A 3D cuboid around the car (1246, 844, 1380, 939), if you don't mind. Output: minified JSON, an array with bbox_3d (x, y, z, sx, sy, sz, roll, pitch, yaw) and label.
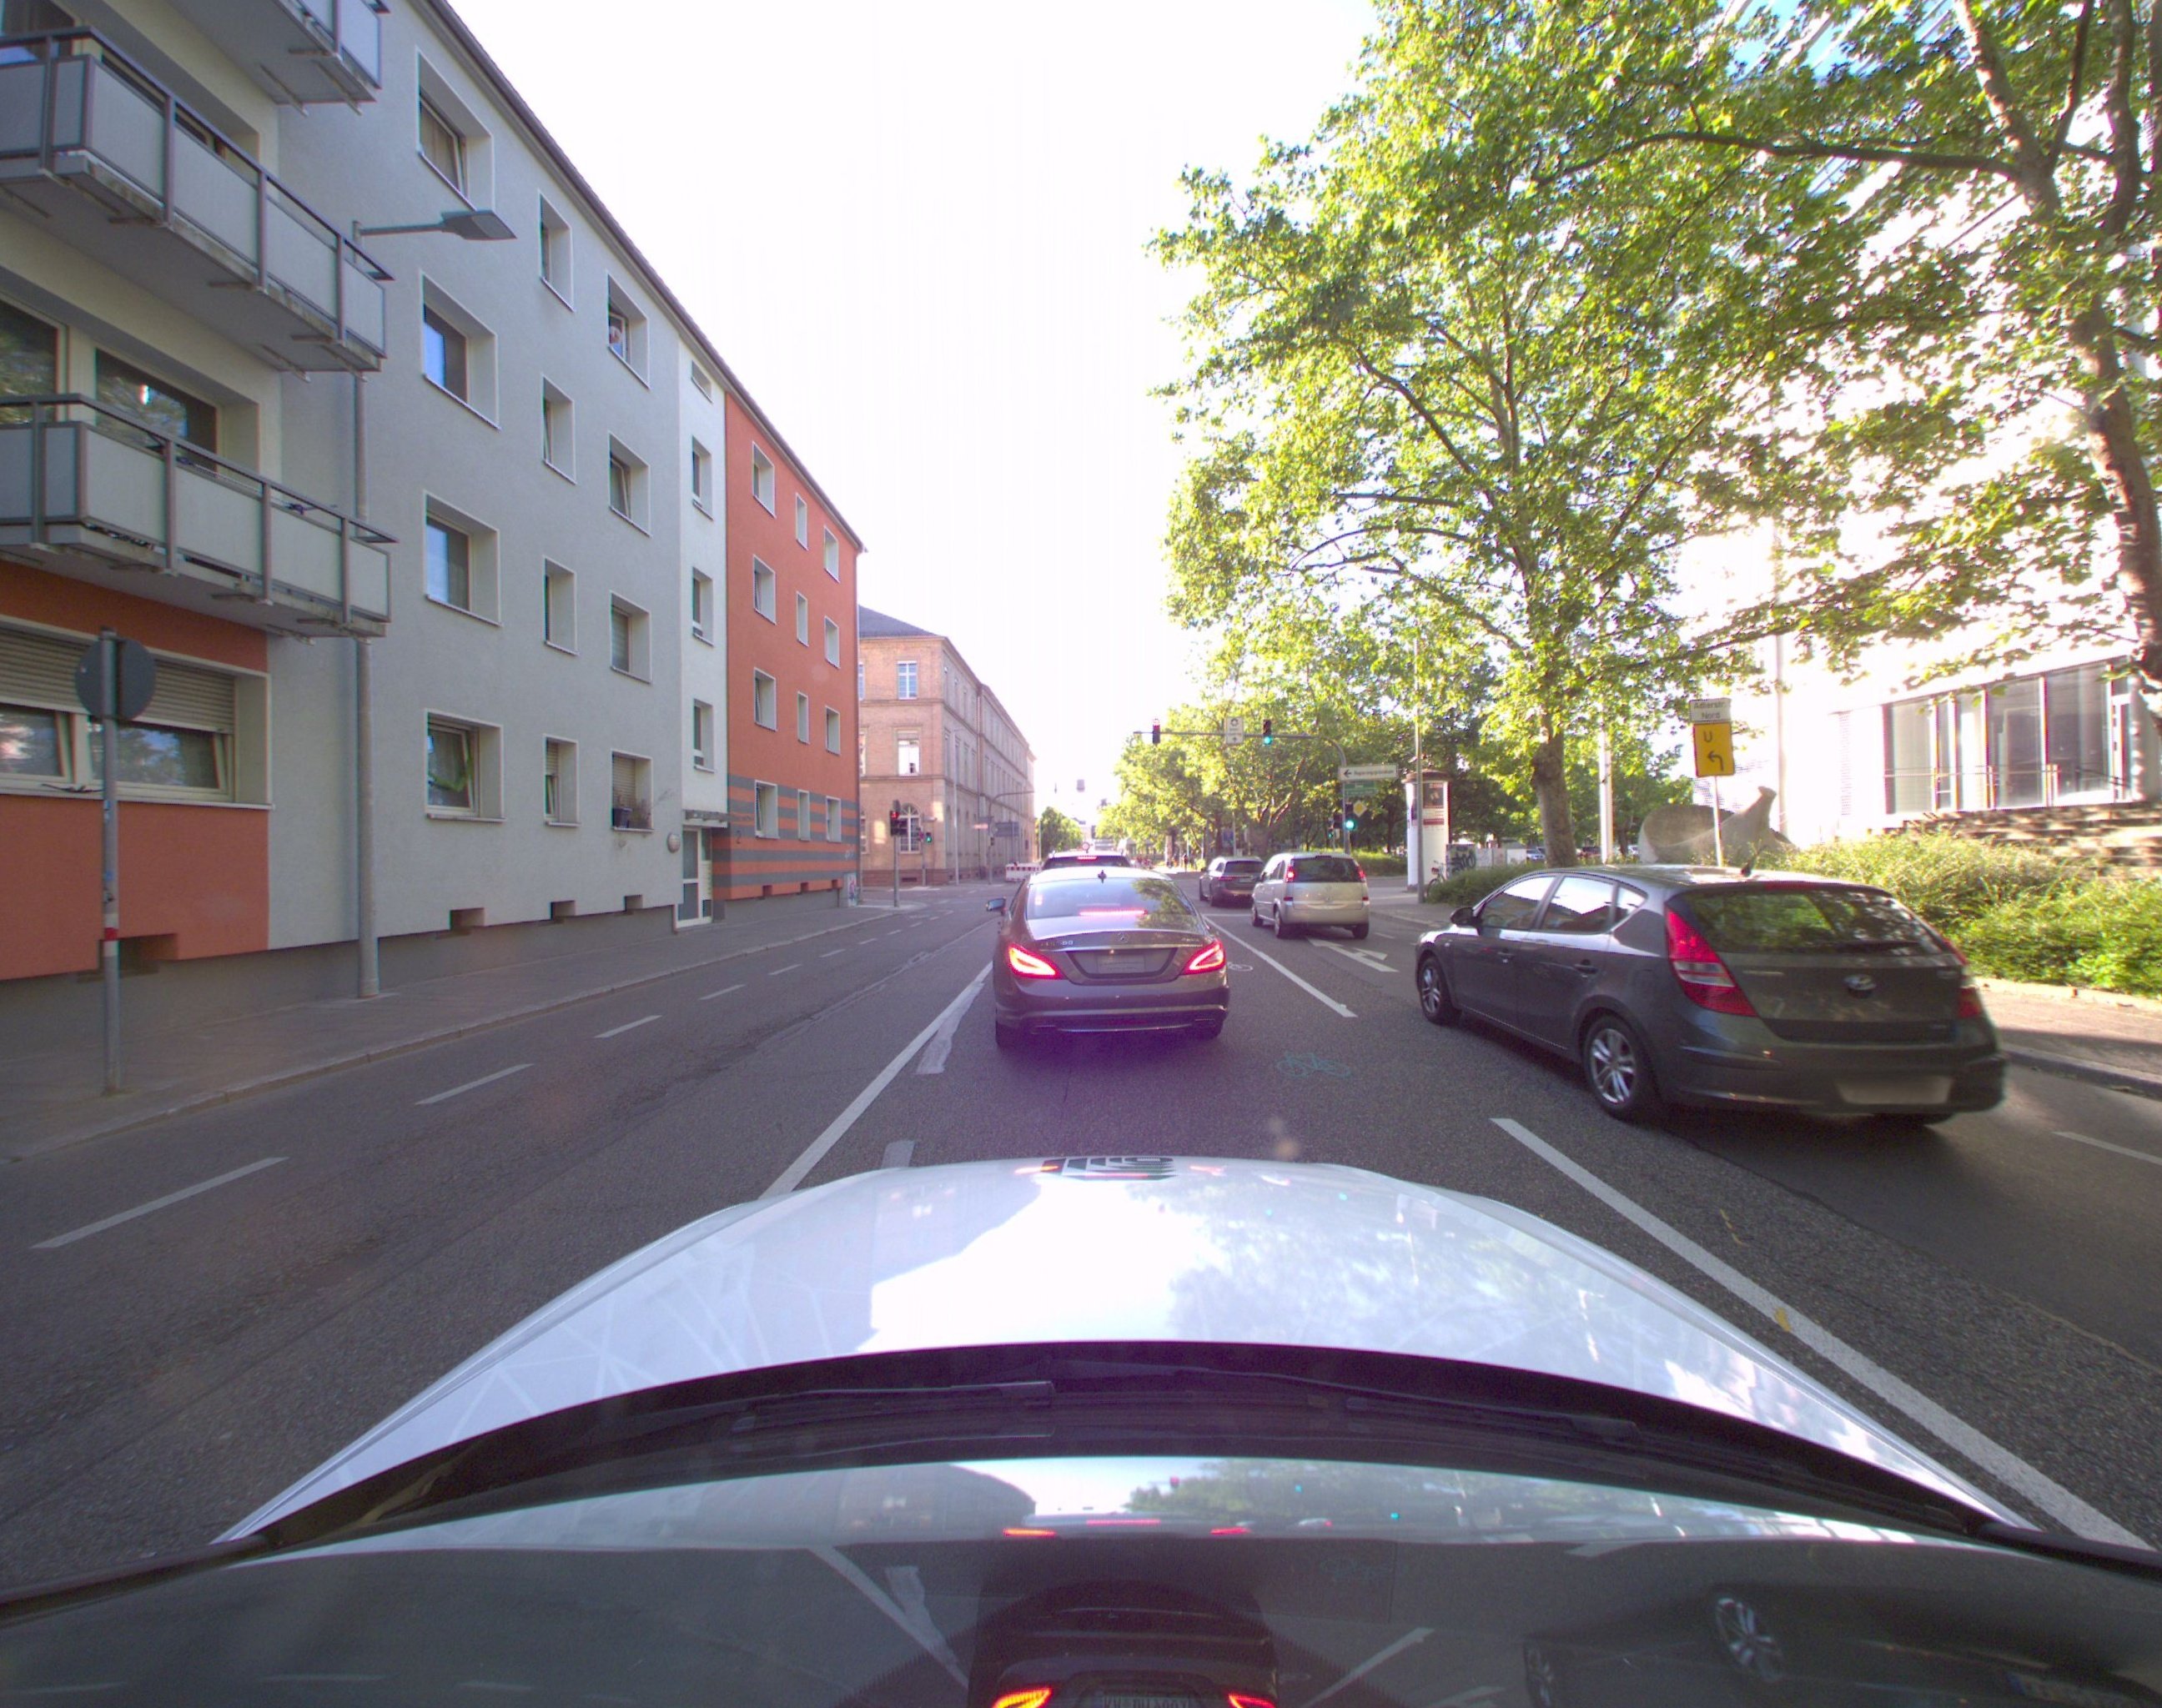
[{"bbox_3d":[4.473,0.680,16.246,1.725,1.662,3.682,0,-1,2],"label":"car"}]

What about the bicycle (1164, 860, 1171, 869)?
[{"bbox_3d":[11.111,1.350,104.915,0.590,1.263,1.804,0,-1,-3],"label":"bicycle"}]

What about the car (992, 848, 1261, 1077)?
[{"bbox_3d":[0.142,0.736,7.592,1.859,1.519,3.992,-1,0,-6],"label":"car"}]

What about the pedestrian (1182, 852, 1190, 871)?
[{"bbox_3d":[9.838,0.740,76.629,0.634,1.797,0.698,0,-1,-2],"label":"pedestrian"}]

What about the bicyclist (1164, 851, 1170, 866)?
[{"bbox_3d":[11.085,0.578,104.949,0.593,2.039,0.566,0,-1,-3],"label":"bicyclist"}]

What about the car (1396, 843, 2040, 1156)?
[{"bbox_3d":[3.897,0.719,6.002,1.698,1.519,4.002,-1,0,2],"label":"car"}]

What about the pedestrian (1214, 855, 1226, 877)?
[{"bbox_3d":[10.002,0.873,58.560,0.634,1.545,0.909,0,-1,-2],"label":"pedestrian"}]

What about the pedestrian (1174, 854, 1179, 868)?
[{"bbox_3d":[10.328,0.747,88.115,0.554,1.509,0.345,0,-1,-3],"label":"pedestrian"}]

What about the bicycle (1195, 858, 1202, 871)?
[{"bbox_3d":[11.050,0.988,76.388,0.480,1.202,1.607,0,-1,2],"label":"bicycle"}]

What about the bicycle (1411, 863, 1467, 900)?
[{"bbox_3d":[10.526,0.784,23.918,1.895,1.028,0.635,0,-1,-36],"label":"bicycle"}]

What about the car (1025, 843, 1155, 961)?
[{"bbox_3d":[0.189,0.695,13.727,1.854,1.682,4.002,-1,0,2],"label":"car"}]

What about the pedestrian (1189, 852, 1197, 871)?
[{"bbox_3d":[10.510,0.701,76.581,0.634,1.760,0.698,0,-1,-2],"label":"pedestrian"}]

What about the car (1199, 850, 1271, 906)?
[{"bbox_3d":[4.597,0.693,24.786,1.595,1.549,3.682,0,-1,2],"label":"car"}]
